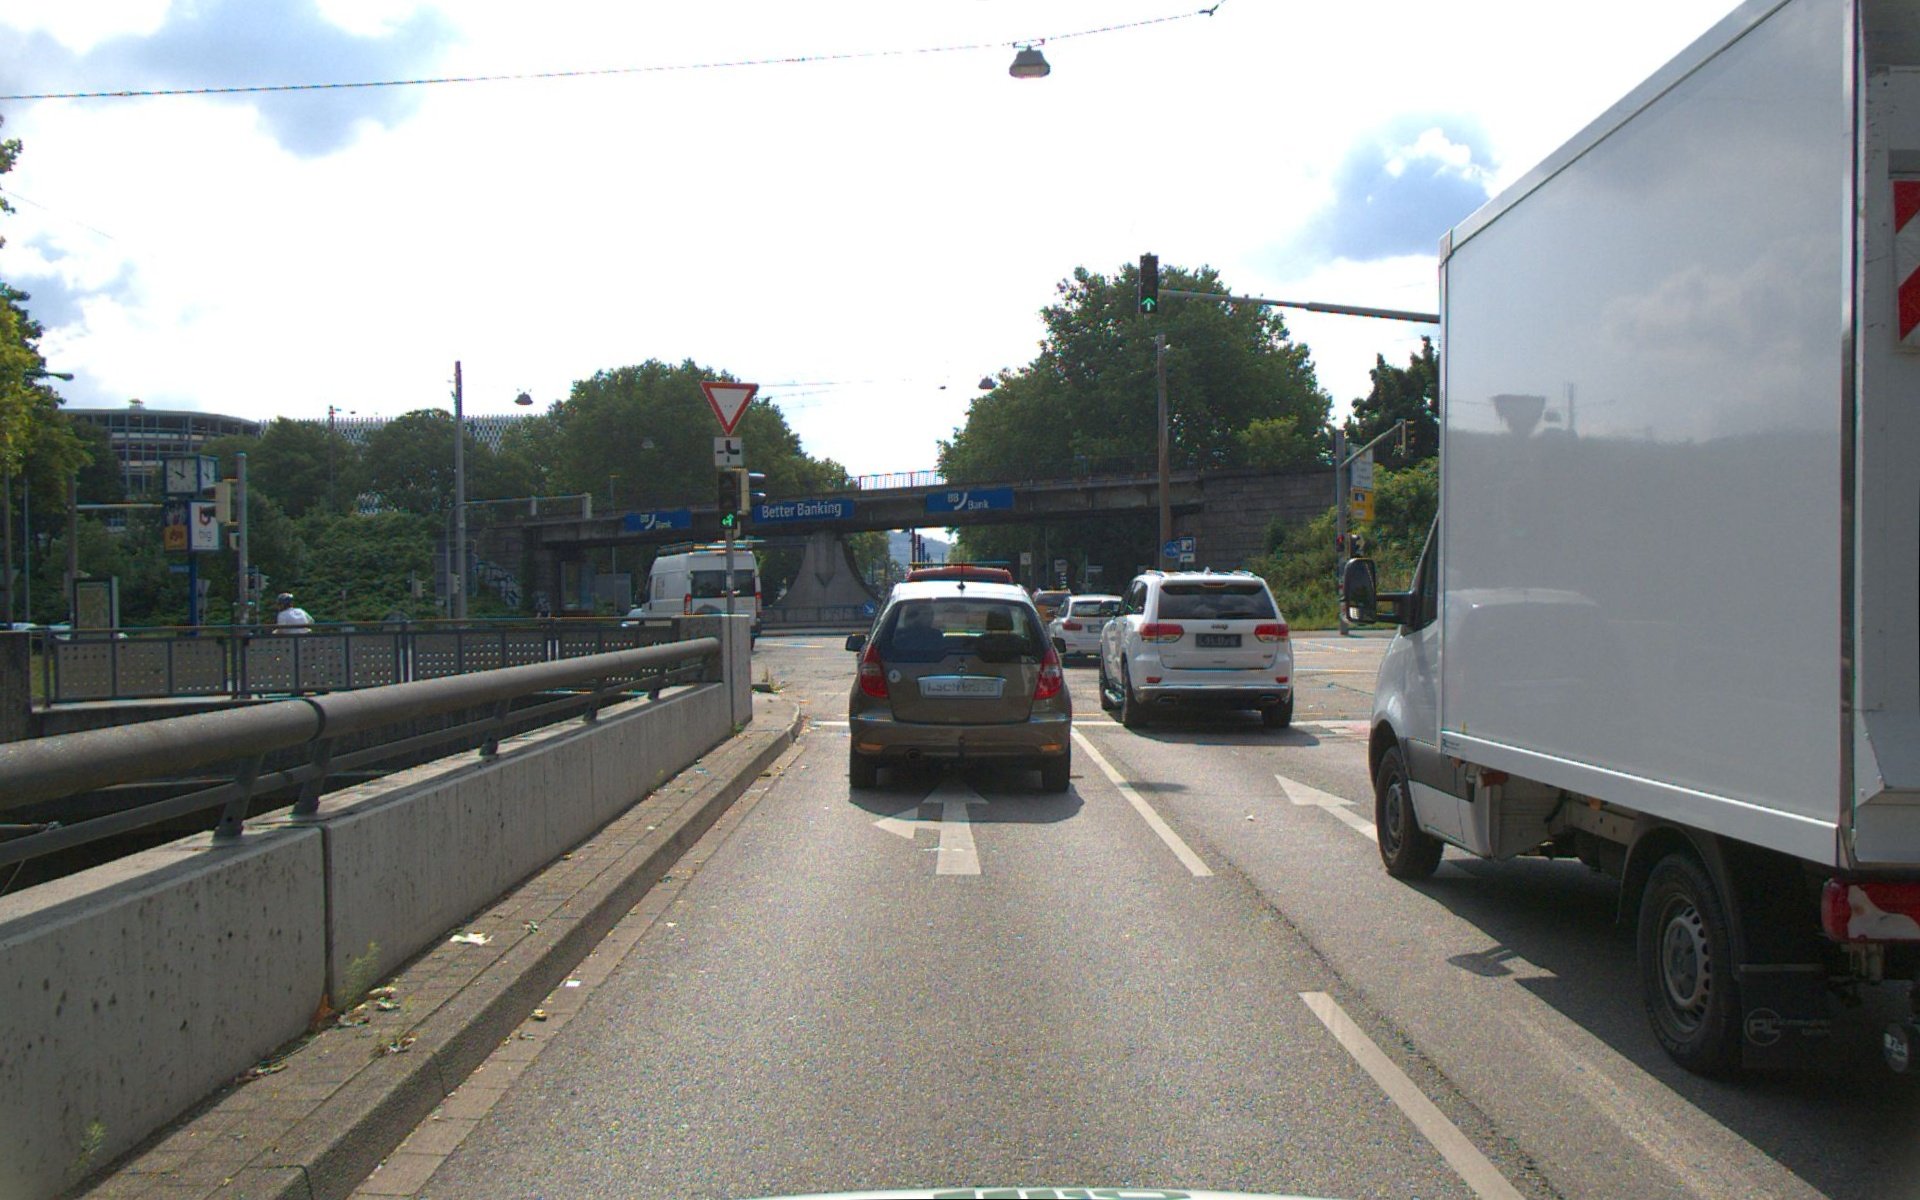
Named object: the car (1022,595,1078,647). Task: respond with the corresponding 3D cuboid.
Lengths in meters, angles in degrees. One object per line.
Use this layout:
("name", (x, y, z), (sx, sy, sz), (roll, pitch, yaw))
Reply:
("car", (2.733, 0.650, 50.759), (1.512, 1.548, 3.616), (0, -1, 0))

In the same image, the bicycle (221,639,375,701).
("bicycle", (-9.340, 0.982, 23.358), (1.931, 0.841, 0.612), (-1, 0, 3))

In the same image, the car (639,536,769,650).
("car", (-6.707, -0.112, 42.934), (2.168, 2.774, 4.894), (1, -1, -24))

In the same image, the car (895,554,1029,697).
("car", (0.018, 0.366, 26.180), (1.915, 2.052, 4.676), (0, 0, 0))

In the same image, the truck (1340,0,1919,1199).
("truck", (3.348, -0.118, 6.545), (2.396, 3.176, 6.028), (0, 0, 1))

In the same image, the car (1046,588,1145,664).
("car", (2.858, 0.568, 35.482), (1.814, 1.548, 3.616), (0, -1, 0))

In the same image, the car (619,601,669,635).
("car", (-15.598, 0.888, 81.781), (1.668, 1.502, 3.999), (-4, 0, -1))

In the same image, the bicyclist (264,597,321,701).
("bicyclist", (-9.422, 0.685, 23.368), (0.499, 1.429, 0.626), (-1, 0, 4))

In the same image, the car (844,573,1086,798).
("car", (0.030, 0.619, 13.935), (1.755, 1.637, 3.798), (0, 0, 0))

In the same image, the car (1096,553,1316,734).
("car", (2.812, 0.432, 19.901), (1.954, 1.934, 4.509), (0, 1, 0))
